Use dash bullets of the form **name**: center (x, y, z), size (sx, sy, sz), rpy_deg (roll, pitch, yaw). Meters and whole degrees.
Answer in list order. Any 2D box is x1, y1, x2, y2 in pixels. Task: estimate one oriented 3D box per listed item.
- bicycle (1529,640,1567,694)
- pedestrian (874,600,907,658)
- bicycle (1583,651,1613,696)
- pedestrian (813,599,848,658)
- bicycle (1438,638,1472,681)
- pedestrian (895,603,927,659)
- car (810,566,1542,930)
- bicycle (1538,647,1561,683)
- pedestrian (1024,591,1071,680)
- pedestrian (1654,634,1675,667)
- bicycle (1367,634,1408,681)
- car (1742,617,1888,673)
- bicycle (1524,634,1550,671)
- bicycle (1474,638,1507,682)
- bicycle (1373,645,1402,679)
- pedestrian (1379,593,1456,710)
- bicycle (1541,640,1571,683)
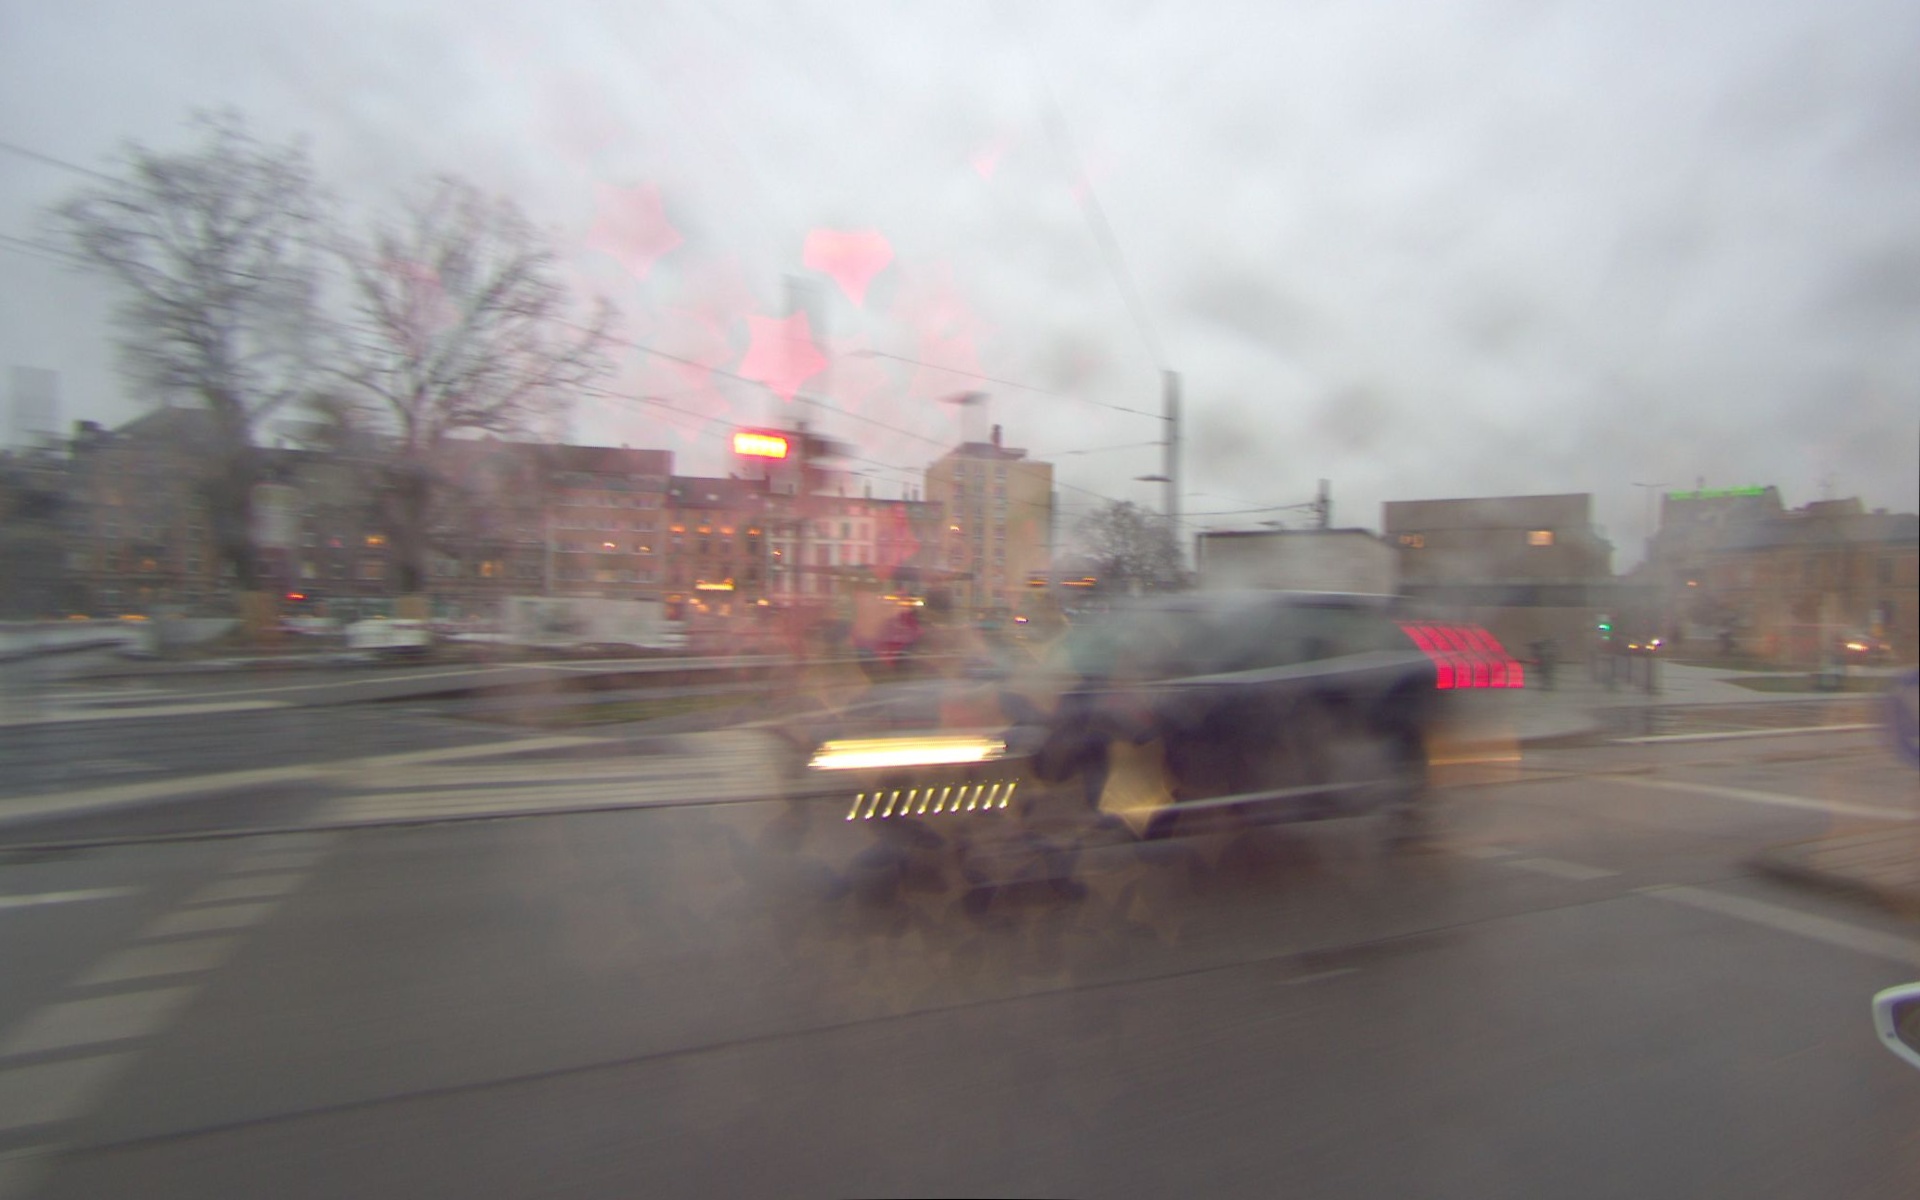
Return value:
- **bicycle**: center (13.628, 1.528, 23.269), size (0.541, 1.180, 1.936), rpy_deg (3, 0, 35)
- **pedestrian**: center (-2.246, 0.926, 32.453), size (0.702, 1.830, 0.716), rpy_deg (2, -1, 31)
- **bicycle**: center (17.787, 2.022, 27.991), size (0.541, 1.180, 1.893), rpy_deg (3, 0, 35)
- **pedestrian**: center (-4.002, 0.893, 31.074), size (0.702, 1.780, 0.716), rpy_deg (2, -1, 31)
- **bicycle**: center (14.536, 1.725, 29.476), size (0.541, 1.180, 1.893), rpy_deg (3, 0, 35)
- **pedestrian**: center (-1.626, 1.023, 33.312), size (0.702, 1.830, 0.716), rpy_deg (2, -1, 31)
- **car**: center (1.445, 0.744, 6.433), size (4.469, 1.684, 1.749), rpy_deg (1, -2, -26)
- **bicycle**: center (20.578, 2.241, 35.039), size (0.541, 1.180, 1.894), rpy_deg (3, 0, 34)
- **pedestrian**: center (1.882, 0.752, 21.529), size (0.594, 1.837, 0.823), rpy_deg (3, 0, 32)
- **pedestrian**: center (38.174, 2.732, 54.432), size (0.781, 1.719, 0.462), rpy_deg (3, 0, -1)
- **bicycle**: center (11.298, 1.504, 26.508), size (0.541, 1.180, 1.893), rpy_deg (3, 0, 35)
- **car**: center (40.731, 2.095, 48.054), size (2.217, 2.311, 5.031), rpy_deg (3, 0, -8)
- **bicycle**: center (19.287, 1.737, 33.550), size (0.541, 1.180, 1.893), rpy_deg (3, 0, 35)
- **bicycle**: center (15.122, 1.701, 28.614), size (0.541, 1.180, 1.893), rpy_deg (3, 0, 35)
- **bicycle**: center (15.562, 2.233, 36.548), size (0.541, 1.180, 1.893), rpy_deg (3, 0, 35)
- **pedestrian**: center (6.921, 0.770, 15.215), size (0.719, 1.696, 0.672), rpy_deg (3, 0, -21)
- **bicycle**: center (17.124, 1.750, 28.863), size (0.541, 1.180, 1.893), rpy_deg (3, 0, 35)
